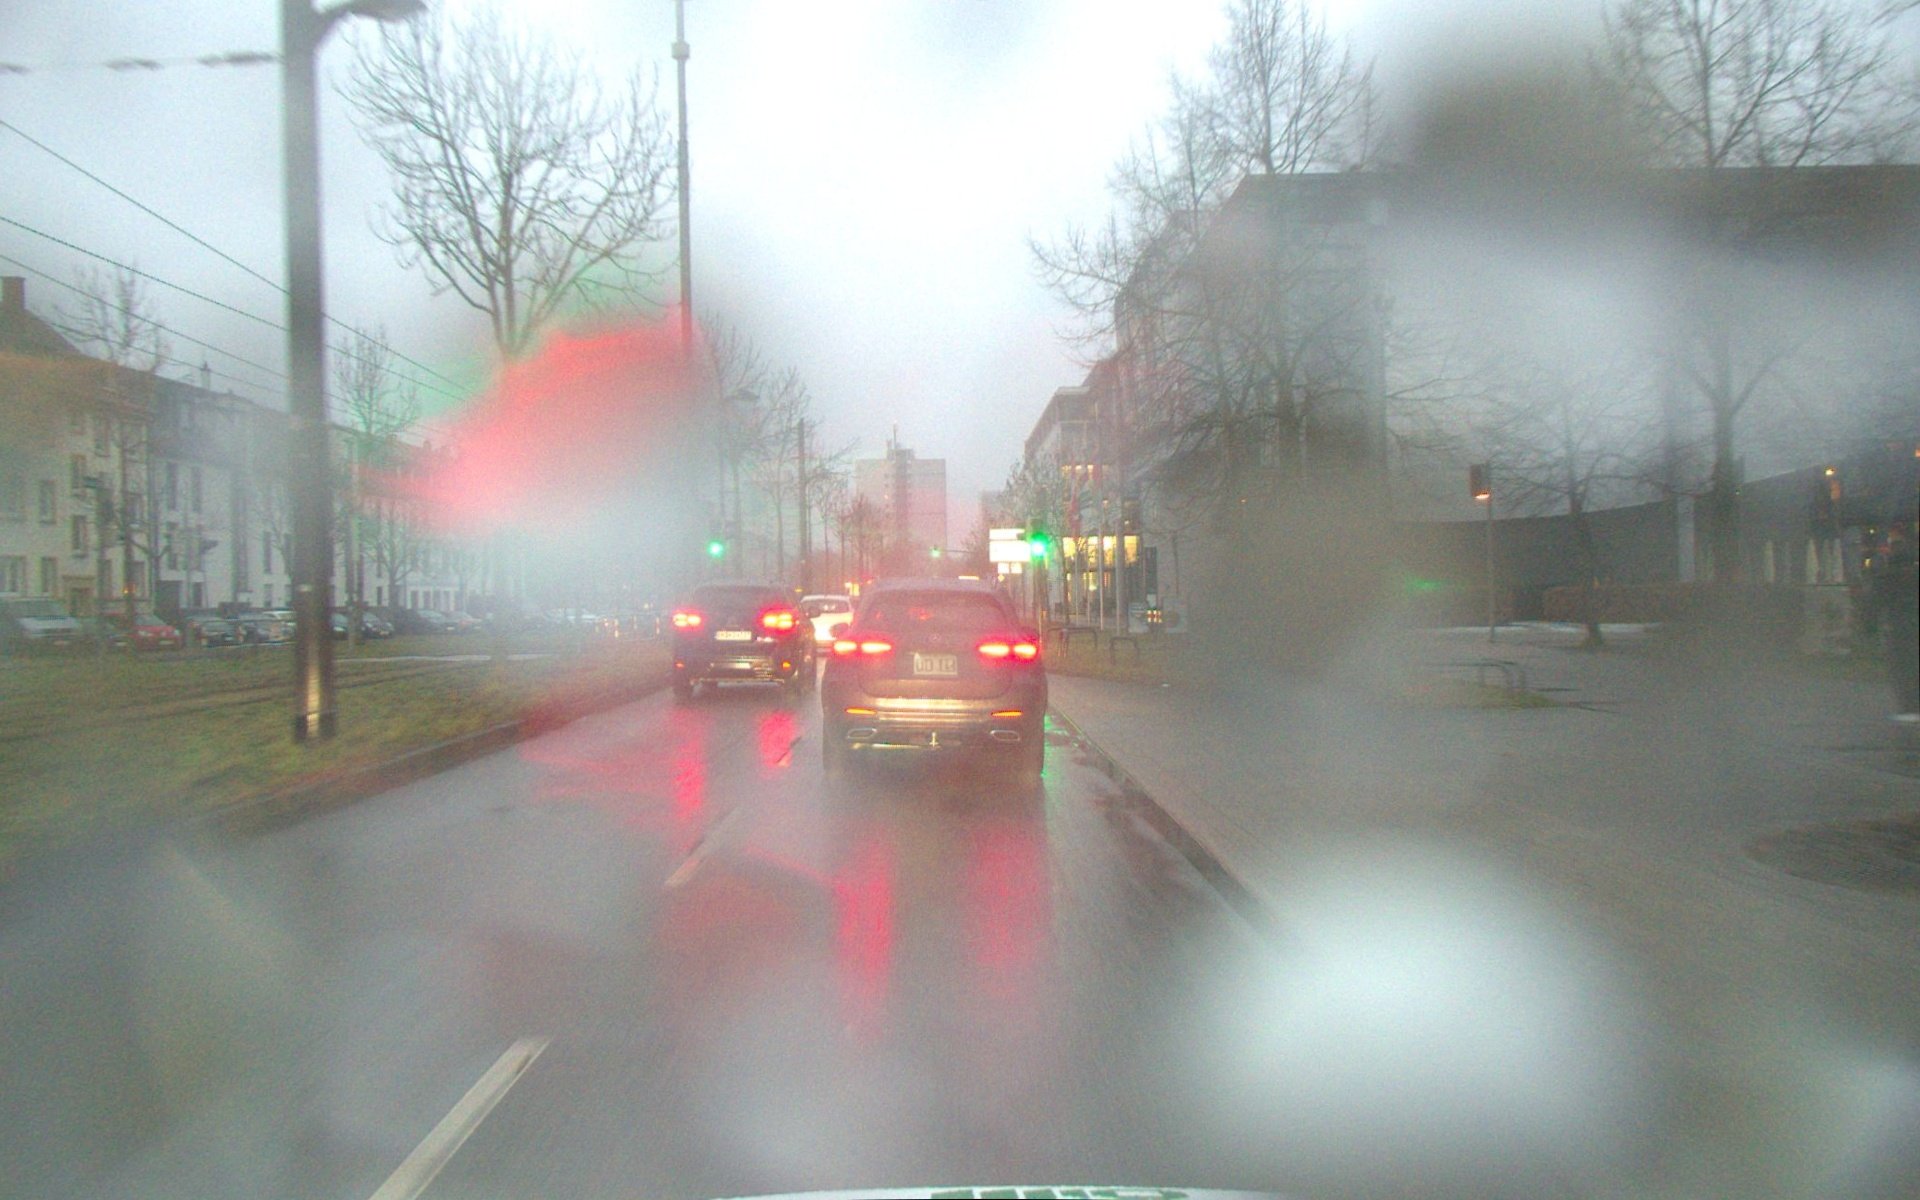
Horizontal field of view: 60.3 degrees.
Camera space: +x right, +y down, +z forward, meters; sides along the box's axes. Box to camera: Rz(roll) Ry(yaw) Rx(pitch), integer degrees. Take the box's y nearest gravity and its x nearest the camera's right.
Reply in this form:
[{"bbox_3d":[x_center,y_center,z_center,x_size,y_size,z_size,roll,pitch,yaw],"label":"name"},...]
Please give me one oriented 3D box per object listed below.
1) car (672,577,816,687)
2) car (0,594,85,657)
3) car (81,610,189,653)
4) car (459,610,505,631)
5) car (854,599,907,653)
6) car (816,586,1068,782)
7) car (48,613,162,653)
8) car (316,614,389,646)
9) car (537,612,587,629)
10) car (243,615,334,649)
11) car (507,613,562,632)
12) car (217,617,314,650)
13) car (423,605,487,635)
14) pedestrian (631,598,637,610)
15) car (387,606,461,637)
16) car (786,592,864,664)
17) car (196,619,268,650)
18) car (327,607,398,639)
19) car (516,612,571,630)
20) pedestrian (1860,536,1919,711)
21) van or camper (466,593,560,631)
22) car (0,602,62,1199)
[{"bbox_3d":[-3.119,0.445,24.530,1.781,1.476,3.998,1,0,-3],"label":"car"},{"bbox_3d":[-28.415,0.732,49.627,4.561,1.754,1.828,1,0,33],"label":"car"},{"bbox_3d":[-27.921,1.053,55.945,3.504,1.332,1.682,1,0,32],"label":"car"},{"bbox_3d":[-29.298,1.237,101.259,2.835,1.225,1.381,1,0,41],"label":"car"},{"bbox_3d":[-2.723,0.892,57.492,1.628,1.790,3.567,1,-1,0],"label":"car"},{"bbox_3d":[-0.173,0.670,14.794,1.953,1.509,3.699,1,-1,-1],"label":"car"},{"bbox_3d":[-27.827,1.054,53.822,3.495,1.161,1.733,1,0,32],"label":"car"},{"bbox_3d":[-27.899,1.367,75.967,2.874,1.359,1.733,1,0,32],"label":"car"},{"bbox_3d":[-29.038,1.465,120.760,3.345,1.167,1.688,1,0,31],"label":"car"},{"bbox_3d":[-27.932,1.321,68.791,3.766,1.267,1.731,1,0,35],"label":"car"},{"bbox_3d":[-29.388,1.538,114.310,3.464,1.233,1.744,1,0,31],"label":"car"},{"bbox_3d":[-27.702,1.321,65.962,3.740,1.193,1.733,1,0,32],"label":"car"},{"bbox_3d":[-28.938,1.148,94.709,3.778,1.616,1.733,1,0,41],"label":"car"},{"bbox_3d":[-31.997,0.415,162.399,0.343,1.205,0.427,1,-1,-42],"label":"pedestrian"},{"bbox_3d":[-28.667,1.150,88.467,4.078,1.568,1.664,1,0,35],"label":"car"},{"bbox_3d":[-3.241,0.656,40.238,1.655,1.664,3.473,1,0,-1],"label":"car"},{"bbox_3d":[-27.686,1.309,62.896,2.341,1.067,1.433,1,1,32],"label":"car"},{"bbox_3d":[-28.483,1.093,78.794,3.320,1.446,1.662,1,0,38],"label":"car"},{"bbox_3d":[-29.487,1.469,117.052,3.464,1.221,1.878,1,0,31],"label":"car"},{"bbox_3d":[9.150,0.227,15.982,0.658,1.653,0.615,1,0,14],"label":"pedestrian"},{"bbox_3d":[-29.514,0.753,109.028,6.736,2.401,1.994,1,0,33],"label":"van or camper"},{"bbox_3d":[-2.453,0.737,0.934,1.654,1.500,4.001,1,0,0],"label":"car"}]
